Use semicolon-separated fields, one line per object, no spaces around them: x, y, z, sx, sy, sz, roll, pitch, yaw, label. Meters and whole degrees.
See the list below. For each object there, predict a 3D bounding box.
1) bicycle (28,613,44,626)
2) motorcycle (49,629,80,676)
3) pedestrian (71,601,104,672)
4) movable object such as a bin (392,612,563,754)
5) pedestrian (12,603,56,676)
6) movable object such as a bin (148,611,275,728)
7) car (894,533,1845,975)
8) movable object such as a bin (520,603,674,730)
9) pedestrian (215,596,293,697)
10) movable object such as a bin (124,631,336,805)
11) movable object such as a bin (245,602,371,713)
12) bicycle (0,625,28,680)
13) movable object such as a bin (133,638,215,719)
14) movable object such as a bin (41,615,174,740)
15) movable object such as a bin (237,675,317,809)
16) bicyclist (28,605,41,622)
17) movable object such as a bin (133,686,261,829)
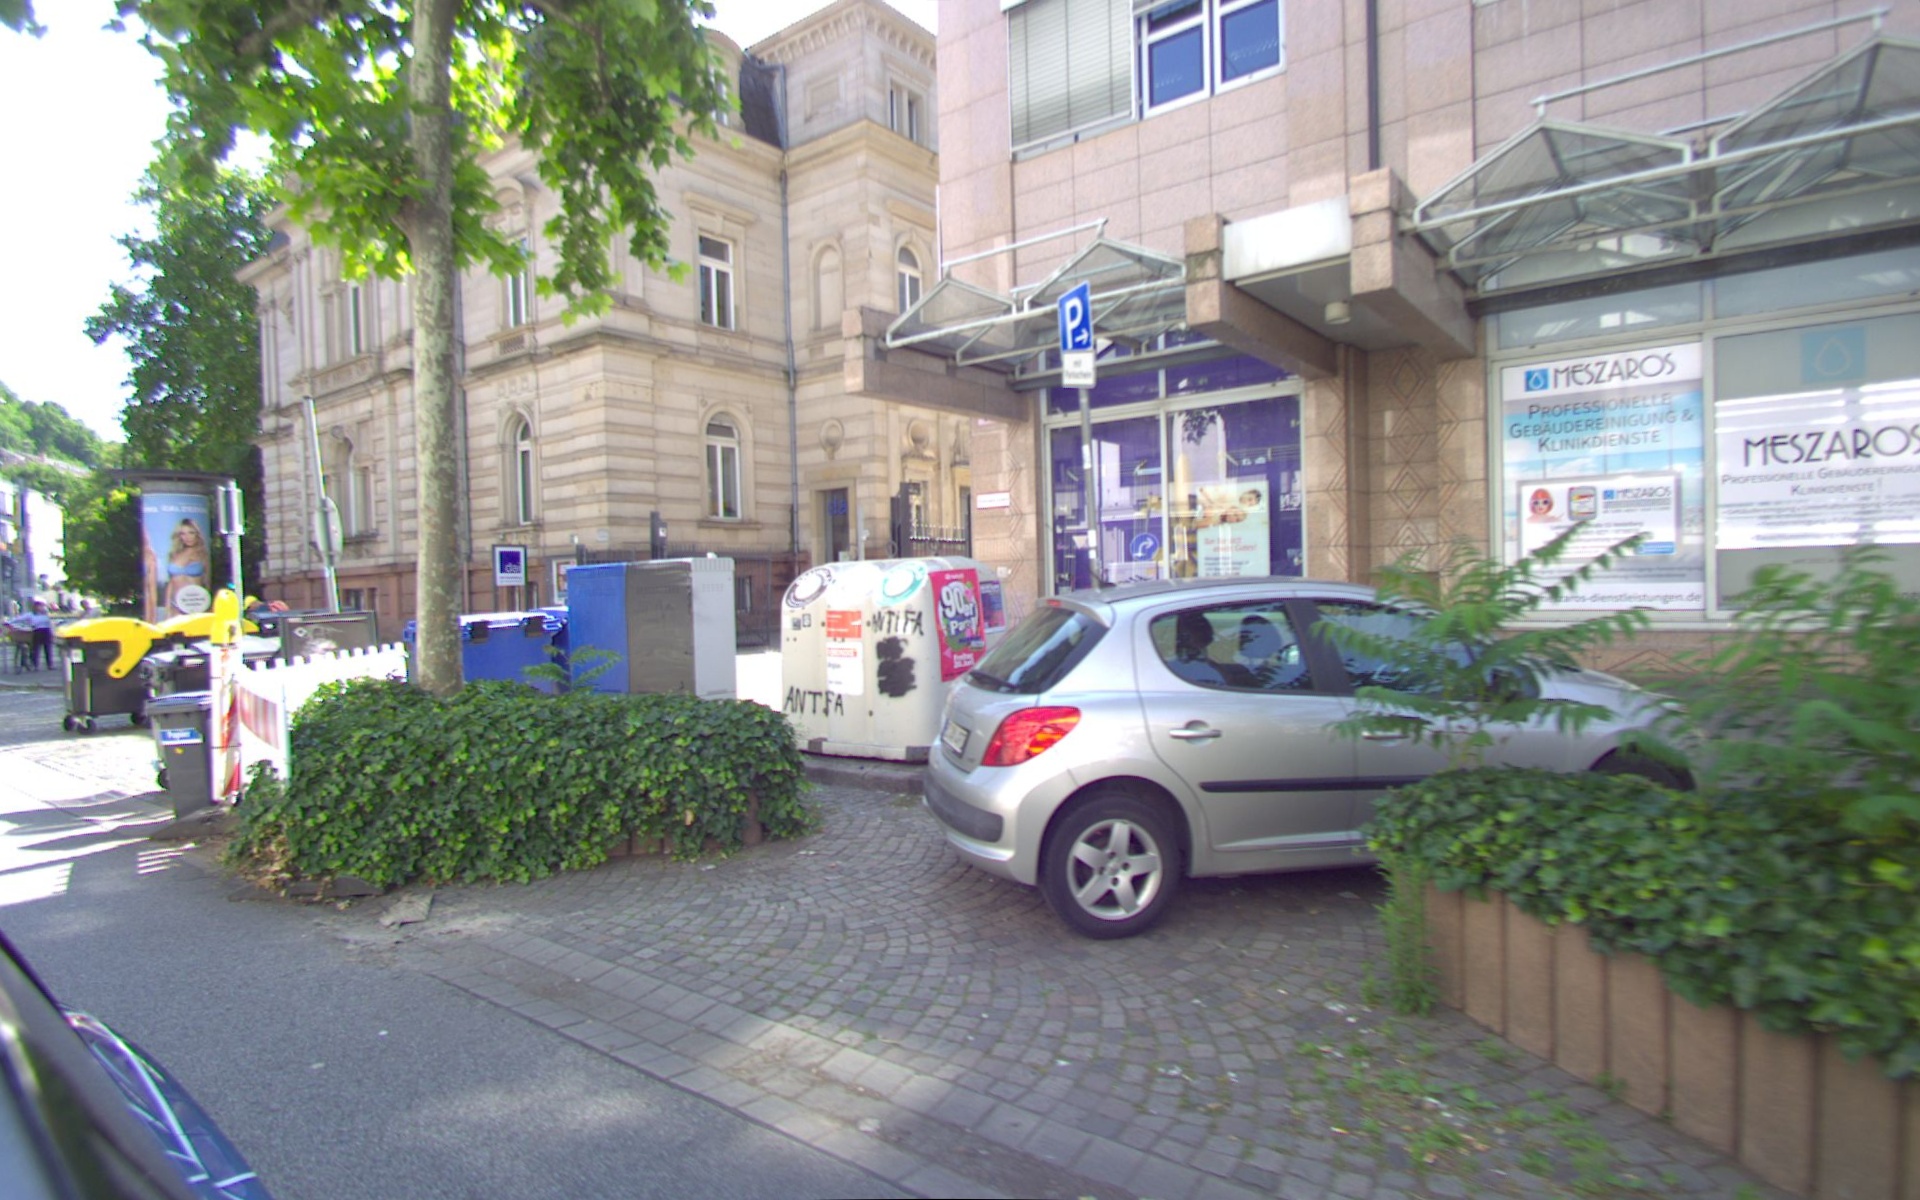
-89.685;1.877;98.233;0.747;1.129;2.008;-1;2;-31;bicycle
-21.591;1.242;24.391;0.448;1.005;2.163;-4;3;-43;motorcycle
-21.318;0.876;24.726;0.542;1.677;0.937;-1;1;-44;pedestrian
-5.061;0.834;10.637;1.078;1.309;1.198;-3;1;38;movable object such as a bin
-22.299;0.928;24.372;0.690;1.708;0.687;0;1;40;pedestrian
-10.470;0.939;14.147;1.439;1.461;1.111;-3;1;43;movable object such as a bin
1.814;0.552;5.134;3.992;1.506;1.940;-3;1;-11;car
-4.194;0.739;11.714;1.126;1.309;1.198;-3;1;38;movable object such as a bin
-12.777;0.820;18.333;0.746;1.738;0.882;-1;1;31;pedestrian
-6.281;0.953;8.741;0.852;1.309;1.265;-1;1;37;movable object such as a bin
-9.601;0.816;14.906;1.364;1.461;1.196;-3;1;43;movable object such as a bin
-22.263;1.217;23.785;0.424;1.128;2.246;-4;4;-41;bicycle
-11.685;1.160;15.049;0.654;1.106;0.718;-3;1;30;movable object such as a bin
-11.226;0.980;13.325;1.439;1.461;1.111;-3;1;43;movable object such as a bin
-5.320;1.081;7.880;0.492;0.946;0.556;0;-2;-36;movable object such as a bin
-89.530;1.282;97.891;0.753;1.648;0.946;-1;1;-31;bicyclist
-5.471;1.111;7.273;0.495;0.946;0.553;-2;-1;12;movable object such as a bin
